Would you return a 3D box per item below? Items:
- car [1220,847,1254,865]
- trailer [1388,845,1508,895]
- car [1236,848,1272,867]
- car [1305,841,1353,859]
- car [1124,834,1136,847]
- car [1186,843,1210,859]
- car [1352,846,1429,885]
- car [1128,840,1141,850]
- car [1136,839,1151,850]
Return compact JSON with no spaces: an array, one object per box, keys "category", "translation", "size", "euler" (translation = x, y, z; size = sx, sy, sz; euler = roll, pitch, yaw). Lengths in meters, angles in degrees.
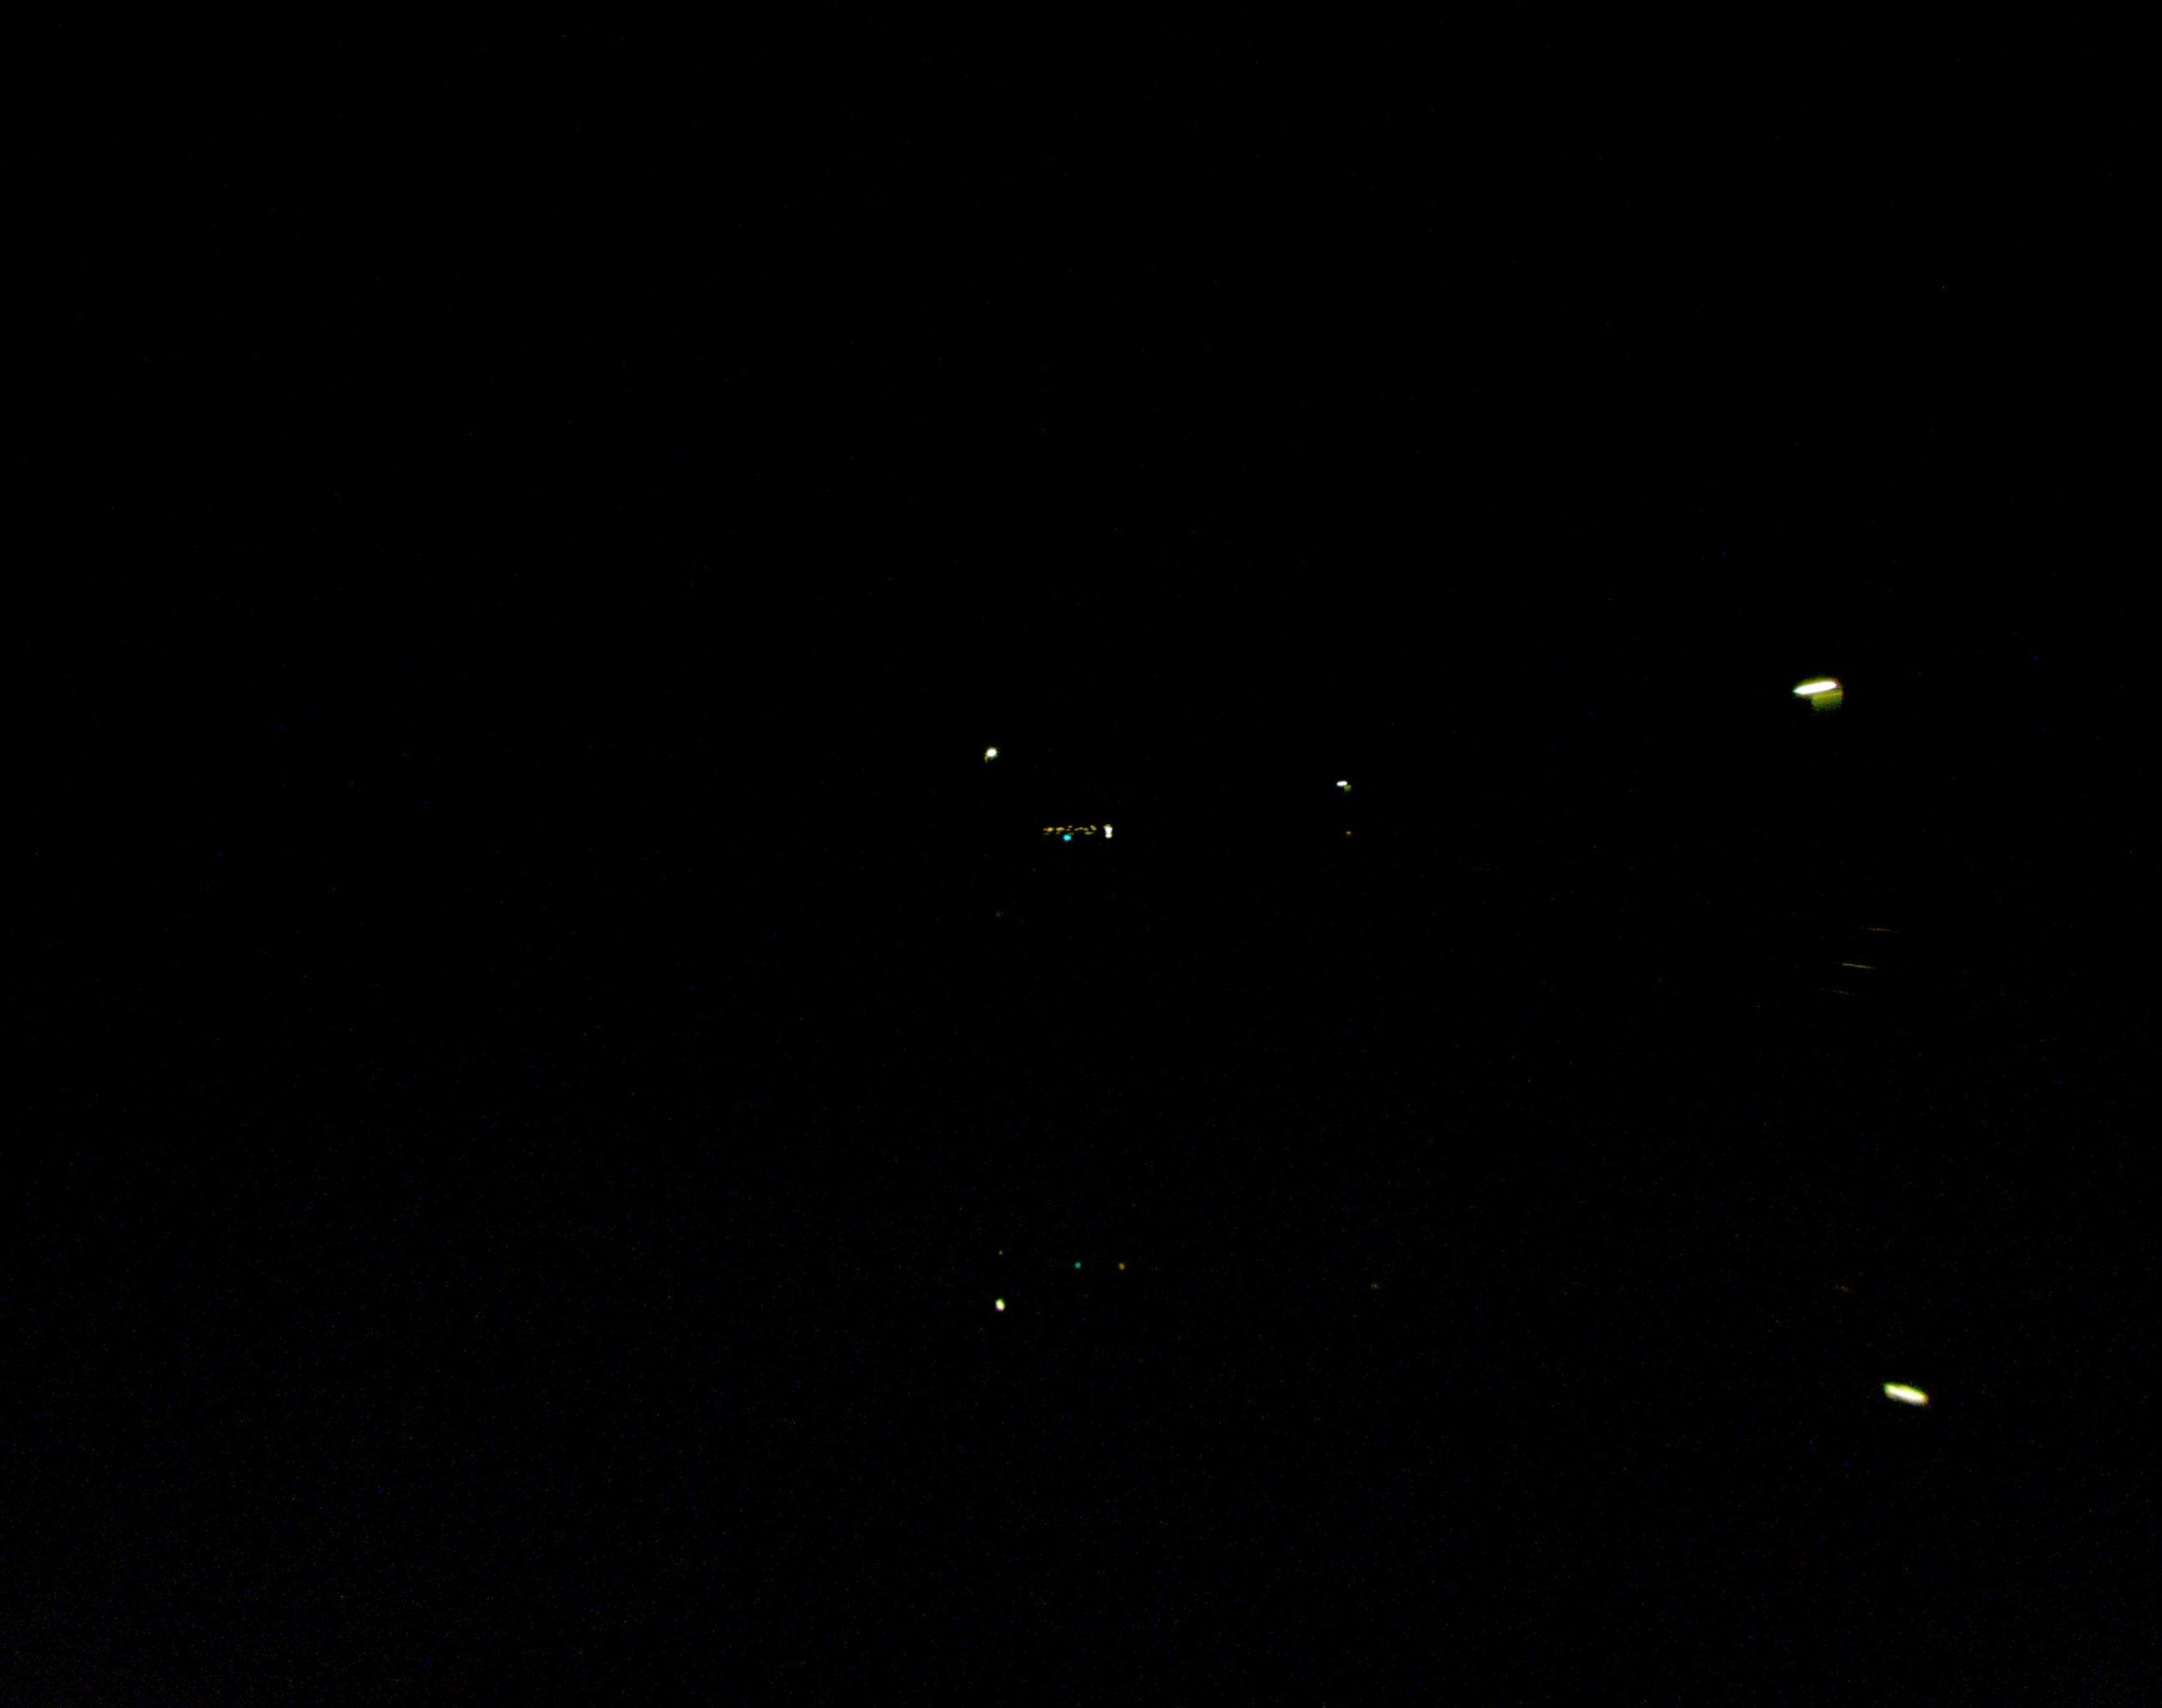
[{"category":"car","translation":[13.708,0.138,67.061],"size":[1.905,1.357,4.982],"euler":[2,2,0]},{"category":"trailer","translation":[14.667,0.562,30.833],"size":[2.030,1.771,5.672],"euler":[1,1,-1]},{"category":"car","translation":[13.827,0.258,60.955],"size":[1.733,1.357,4.143],"euler":[2,2,-2]},{"category":"car","translation":[24.080,-0.432,73.873],"size":[3.998,1.534,1.888],"euler":[-2,2,-4]},{"category":"car","translation":[10.412,-2.917,161.492],"size":[2.165,2.499,4.719],"euler":[2,2,0]},{"category":"car","translation":[13.234,-0.372,86.466],"size":[1.769,1.559,4.691],"euler":[3,1,-2]},{"category":"car","translation":[14.528,0.500,35.970],"size":[1.721,1.568,4.533],"euler":[3,2,0]},{"category":"car","translation":[10.472,-1.823,148.153],"size":[2.125,1.761,4.719],"euler":[2,2,0]},{"category":"car","translation":[11.105,-1.721,135.172],"size":[2.125,1.761,4.719],"euler":[2,2,0]}]
